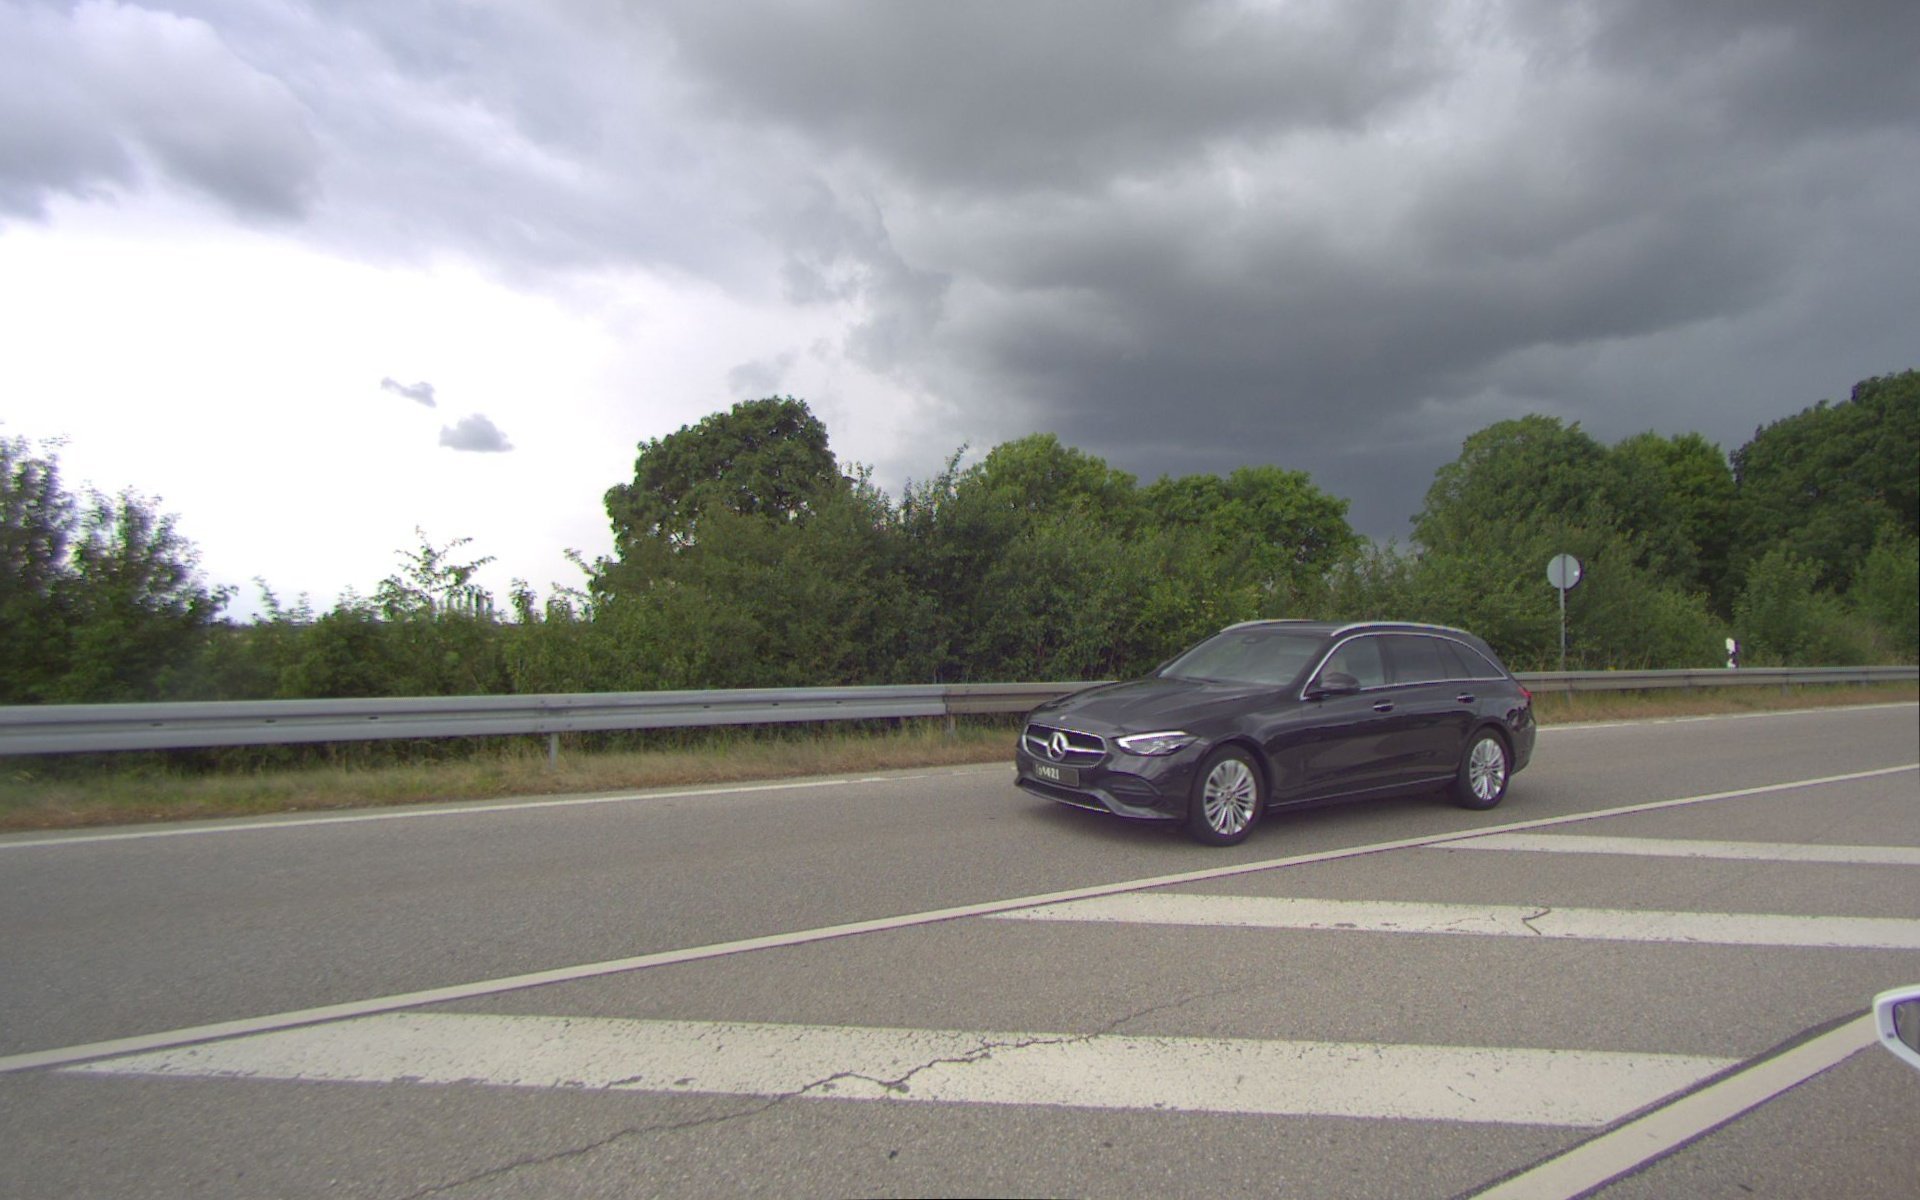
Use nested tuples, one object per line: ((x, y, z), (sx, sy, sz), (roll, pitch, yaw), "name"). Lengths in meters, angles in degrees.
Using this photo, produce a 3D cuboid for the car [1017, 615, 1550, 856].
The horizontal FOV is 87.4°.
((2.651, 0.875, 7.916), (4.209, 1.448, 1.662), (1, -1, -31), "car")
